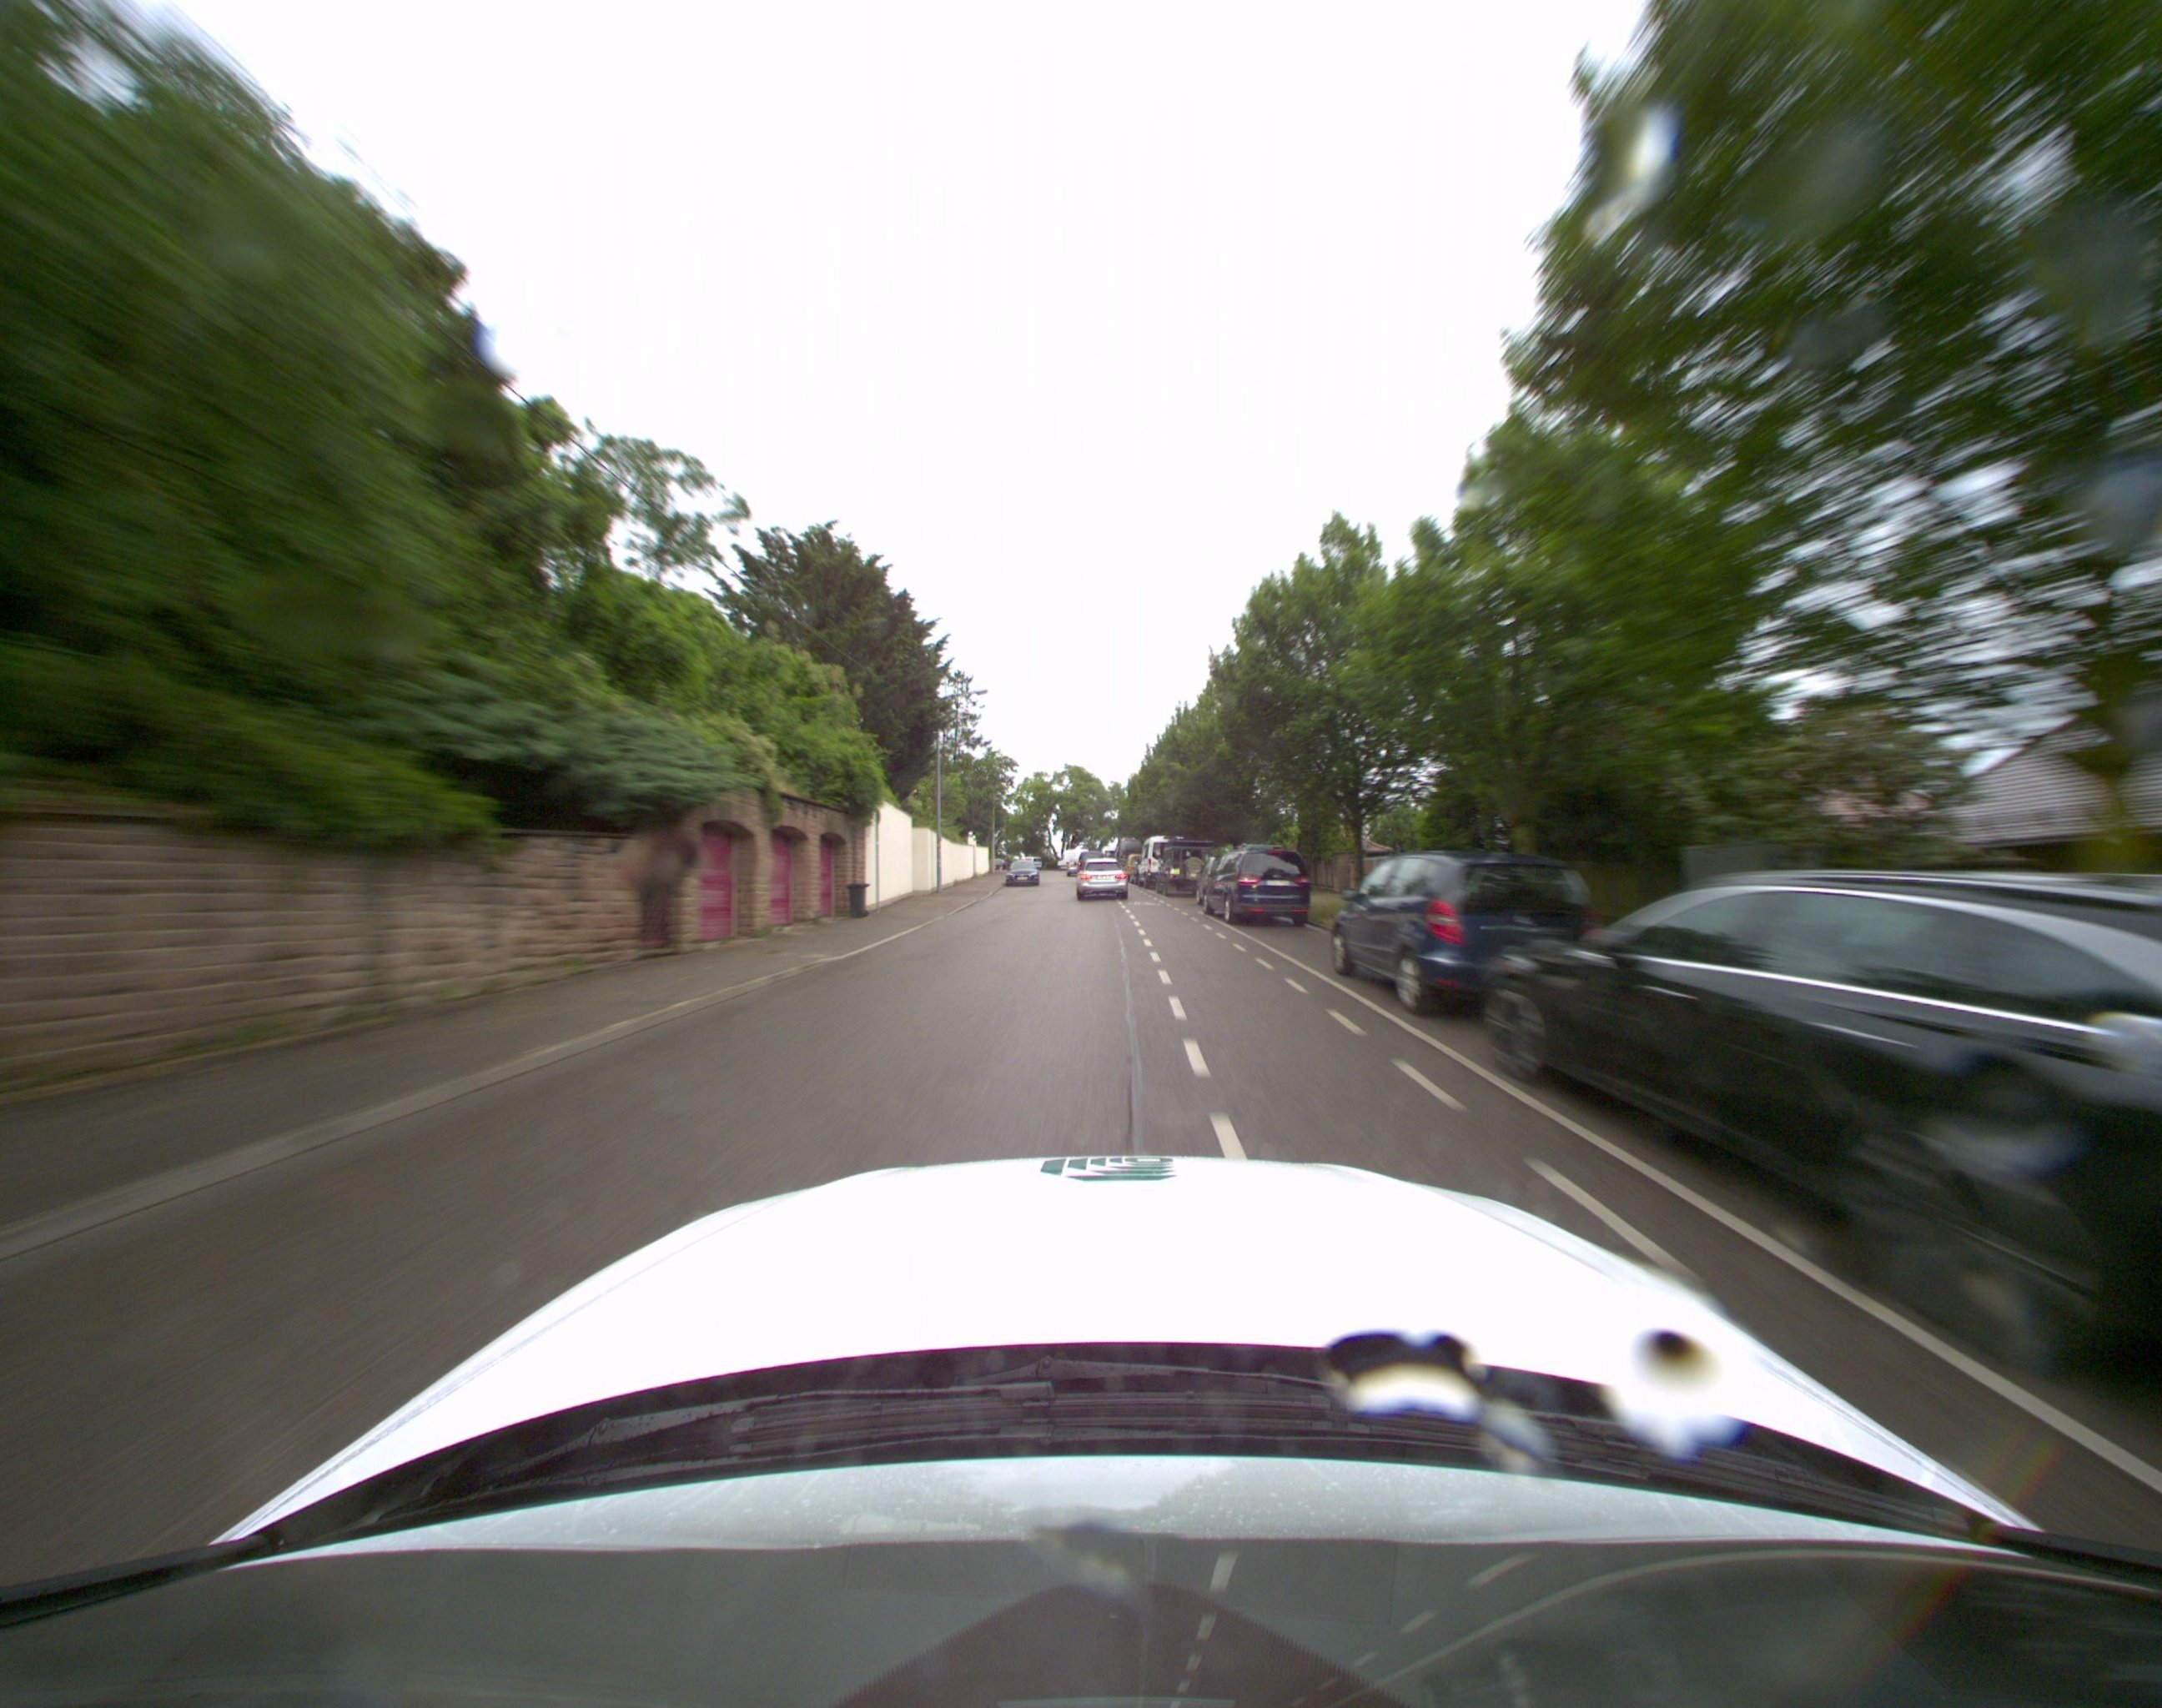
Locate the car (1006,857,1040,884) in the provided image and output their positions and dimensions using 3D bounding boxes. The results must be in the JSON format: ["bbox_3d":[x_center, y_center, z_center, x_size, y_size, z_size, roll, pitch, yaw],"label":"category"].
[{"bbox_3d":[-3.240,0.894,46.334,1.744,1.357,4.421,-2,0,-2],"label":"car"}]

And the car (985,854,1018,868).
[{"bbox_3d":[-10.980,0.961,111.980,4.612,1.697,1.982,2,0,43],"label":"car"}]

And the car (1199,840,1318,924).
[{"bbox_3d":[4.144,0.607,19.791,1.775,1.783,4.676,0,0,-2],"label":"car"}]

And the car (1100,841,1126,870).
[{"bbox_3d":[2.931,0.135,75.260,2.058,2.494,4.757,2,0,-1],"label":"car"}]

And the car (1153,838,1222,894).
[{"bbox_3d":[4.171,0.459,32.735,1.988,2.052,5.118,1,0,-2],"label":"car"}]

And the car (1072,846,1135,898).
[{"bbox_3d":[0.735,0.617,29.909,2.020,1.708,4.212,-2,0,-2],"label":"car"}]

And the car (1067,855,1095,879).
[{"bbox_3d":[0.022,0.961,61.361,1.987,1.708,3.999,1,-1,0],"label":"car"}]

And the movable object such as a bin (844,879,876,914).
[{"bbox_3d":[-6.037,1.149,22.236,0.656,0.919,0.677,0,0,1],"label":"movable object such as a bin"}]

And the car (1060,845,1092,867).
[{"bbox_3d":[-0.622,0.242,98.679,2.136,2.527,4.458,2,0,-26],"label":"car"}]

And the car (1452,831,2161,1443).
[{"bbox_3d":[3.812,0.735,3.957,1.985,1.537,4.853,1,0,3],"label":"car"}]

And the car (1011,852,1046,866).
[{"bbox_3d":[-7.048,0.611,108.361,4.439,1.697,1.983,2,0,39],"label":"car"}]

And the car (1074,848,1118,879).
[{"bbox_3d":[0.821,0.579,47.324,1.991,1.708,3.990,1,-1,-7],"label":"car"}]

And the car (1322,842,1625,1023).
[{"bbox_3d":[4.059,0.695,9.189,1.686,1.570,3.925,1,0,3],"label":"car"}]

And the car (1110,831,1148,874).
[{"bbox_3d":[3.439,-0.106,59.665,2.119,2.887,5.764,2,0,-2],"label":"car"}]

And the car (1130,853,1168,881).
[{"bbox_3d":[3.967,0.731,47.863,1.667,1.458,4.220,3,0,-2],"label":"car"}]

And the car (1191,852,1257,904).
[{"bbox_3d":[4.503,0.734,26.007,1.591,1.558,2.954,0,0,0],"label":"car"}]

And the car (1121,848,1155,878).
[{"bbox_3d":[3.701,0.588,53.406,1.722,1.785,4.274,4,0,-1],"label":"car"}]

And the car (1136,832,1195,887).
[{"bbox_3d":[4.110,0.263,40.647,2.167,2.493,6.031,2,0,-1],"label":"car"}]
